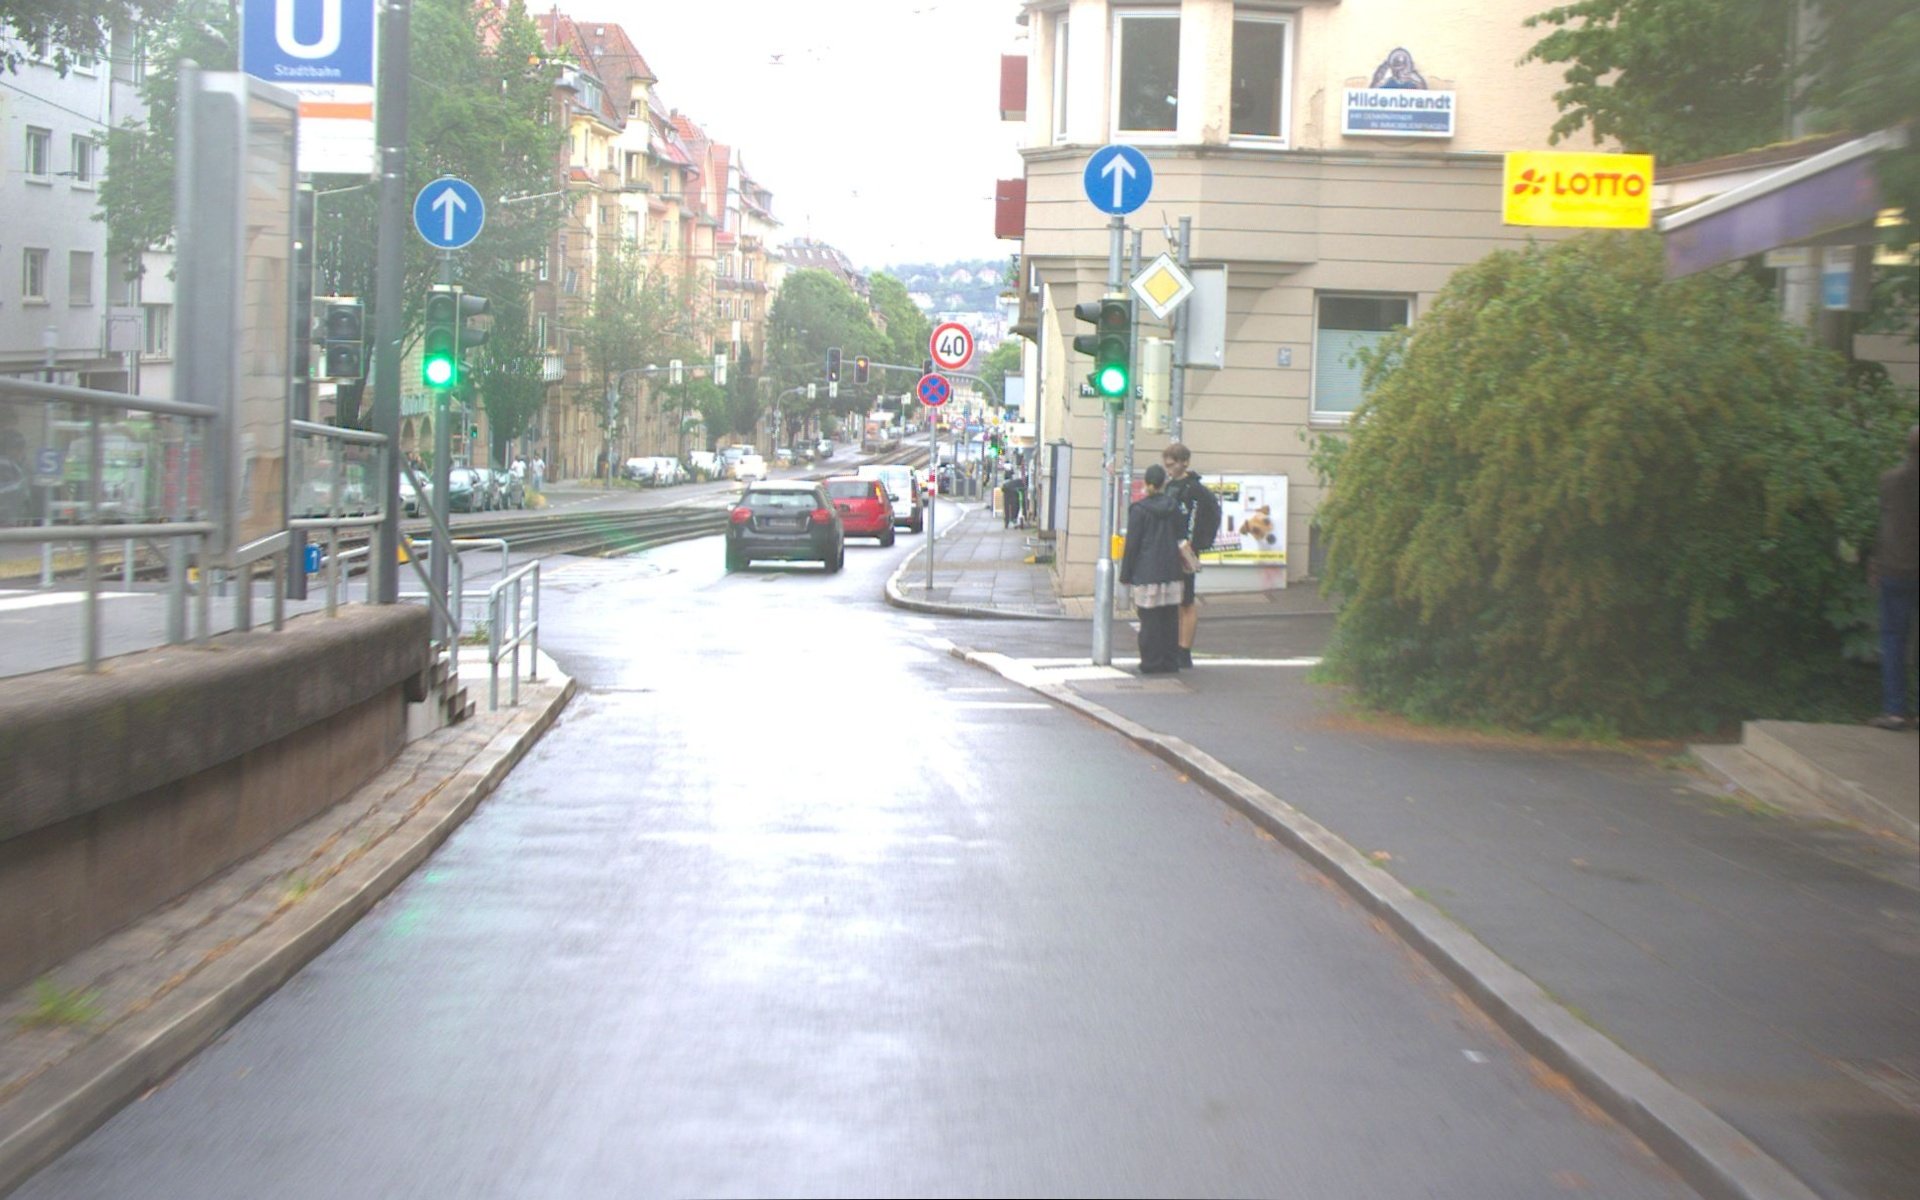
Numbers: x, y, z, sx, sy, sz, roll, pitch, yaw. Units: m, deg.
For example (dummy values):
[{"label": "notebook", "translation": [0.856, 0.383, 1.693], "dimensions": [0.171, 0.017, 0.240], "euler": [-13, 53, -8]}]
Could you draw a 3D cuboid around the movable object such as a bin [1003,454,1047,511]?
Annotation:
[{"label": "movable object such as a bin", "translation": [1.876, -3.411, 99.687], "dimensions": [1.167, 1.649, 1.309], "euler": [-1, 2, -3]}]

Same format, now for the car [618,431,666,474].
[{"label": "car", "translation": [-15.488, -7.175, 167.726], "dimensions": [1.993, 2.007, 4.347], "euler": [-1, 2, -1]}]

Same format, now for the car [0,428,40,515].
[{"label": "car", "translation": [-17.634, -2.256, 60.181], "dimensions": [1.726, 1.510, 4.496], "euler": [1, 3, 2]}]

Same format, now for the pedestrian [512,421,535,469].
[{"label": "pedestrian", "translation": [-18.380, -6.525, 144.678], "dimensions": [0.871, 2.007, 0.704], "euler": [-1, 1, -1]}]

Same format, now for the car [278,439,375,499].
[{"label": "car", "translation": [-16.827, -3.491, 91.478], "dimensions": [1.773, 1.541, 4.256], "euler": [-1, 2, 0]}]

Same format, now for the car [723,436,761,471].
[{"label": "car", "translation": [-12.806, -8.585, 201.963], "dimensions": [1.993, 2.006, 4.347], "euler": [1, 3, -1]}]

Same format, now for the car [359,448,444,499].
[{"label": "car", "translation": [-16.683, -3.787, 102.913], "dimensions": [1.773, 1.483, 4.255], "euler": [-1, 2, 1]}]

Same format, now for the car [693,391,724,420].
[{"label": "car", "translation": [-18.290, -14.162, 250.431], "dimensions": [1.993, 2.006, 4.001], "euler": [1, 3, -1]}]

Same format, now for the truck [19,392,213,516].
[{"label": "truck", "translation": [-17.178, -2.953, 70.318], "dimensions": [2.051, 2.384, 6.321], "euler": [1, 2, 4]}]

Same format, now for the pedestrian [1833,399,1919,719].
[{"label": "pedestrian", "translation": [5.260, -0.227, 19.049], "dimensions": [0.602, 1.739, 0.614], "euler": [2, 2, -1]}]

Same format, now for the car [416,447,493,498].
[{"label": "car", "translation": [-16.392, -4.145, 111.590], "dimensions": [1.773, 1.614, 4.256], "euler": [-1, 2, 1]}]

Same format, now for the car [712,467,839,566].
[{"label": "car", "translation": [-2.919, -1.366, 55.044], "dimensions": [1.851, 1.468, 4.001], "euler": [1, 3, -1]}]

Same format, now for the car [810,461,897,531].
[{"label": "car", "translation": [-2.354, -2.318, 76.601], "dimensions": [1.851, 1.468, 4.001], "euler": [2, 2, -1]}]

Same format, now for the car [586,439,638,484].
[{"label": "car", "translation": [-15.933, -6.333, 157.722], "dimensions": [1.993, 2.007, 4.347], "euler": [-1, 2, -1]}]

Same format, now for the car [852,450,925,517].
[{"label": "car", "translation": [-2.007, -3.255, 96.298], "dimensions": [1.948, 1.786, 4.145], "euler": [2, 2, -1]}]

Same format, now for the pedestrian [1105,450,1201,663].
[{"label": "pedestrian", "translation": [1.556, -0.355, 27.773], "dimensions": [0.695, 1.689, 0.555], "euler": [1, 2, -1]}]

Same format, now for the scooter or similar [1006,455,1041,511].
[{"label": "scooter or similar", "translation": [1.805, -3.341, 98.181], "dimensions": [0.918, 1.598, 0.863], "euler": [1, 2, -4]}]

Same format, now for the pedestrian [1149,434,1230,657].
[{"label": "pedestrian", "translation": [1.891, -0.457, 28.399], "dimensions": [0.554, 1.807, 0.651], "euler": [1, 2, -2]}]
